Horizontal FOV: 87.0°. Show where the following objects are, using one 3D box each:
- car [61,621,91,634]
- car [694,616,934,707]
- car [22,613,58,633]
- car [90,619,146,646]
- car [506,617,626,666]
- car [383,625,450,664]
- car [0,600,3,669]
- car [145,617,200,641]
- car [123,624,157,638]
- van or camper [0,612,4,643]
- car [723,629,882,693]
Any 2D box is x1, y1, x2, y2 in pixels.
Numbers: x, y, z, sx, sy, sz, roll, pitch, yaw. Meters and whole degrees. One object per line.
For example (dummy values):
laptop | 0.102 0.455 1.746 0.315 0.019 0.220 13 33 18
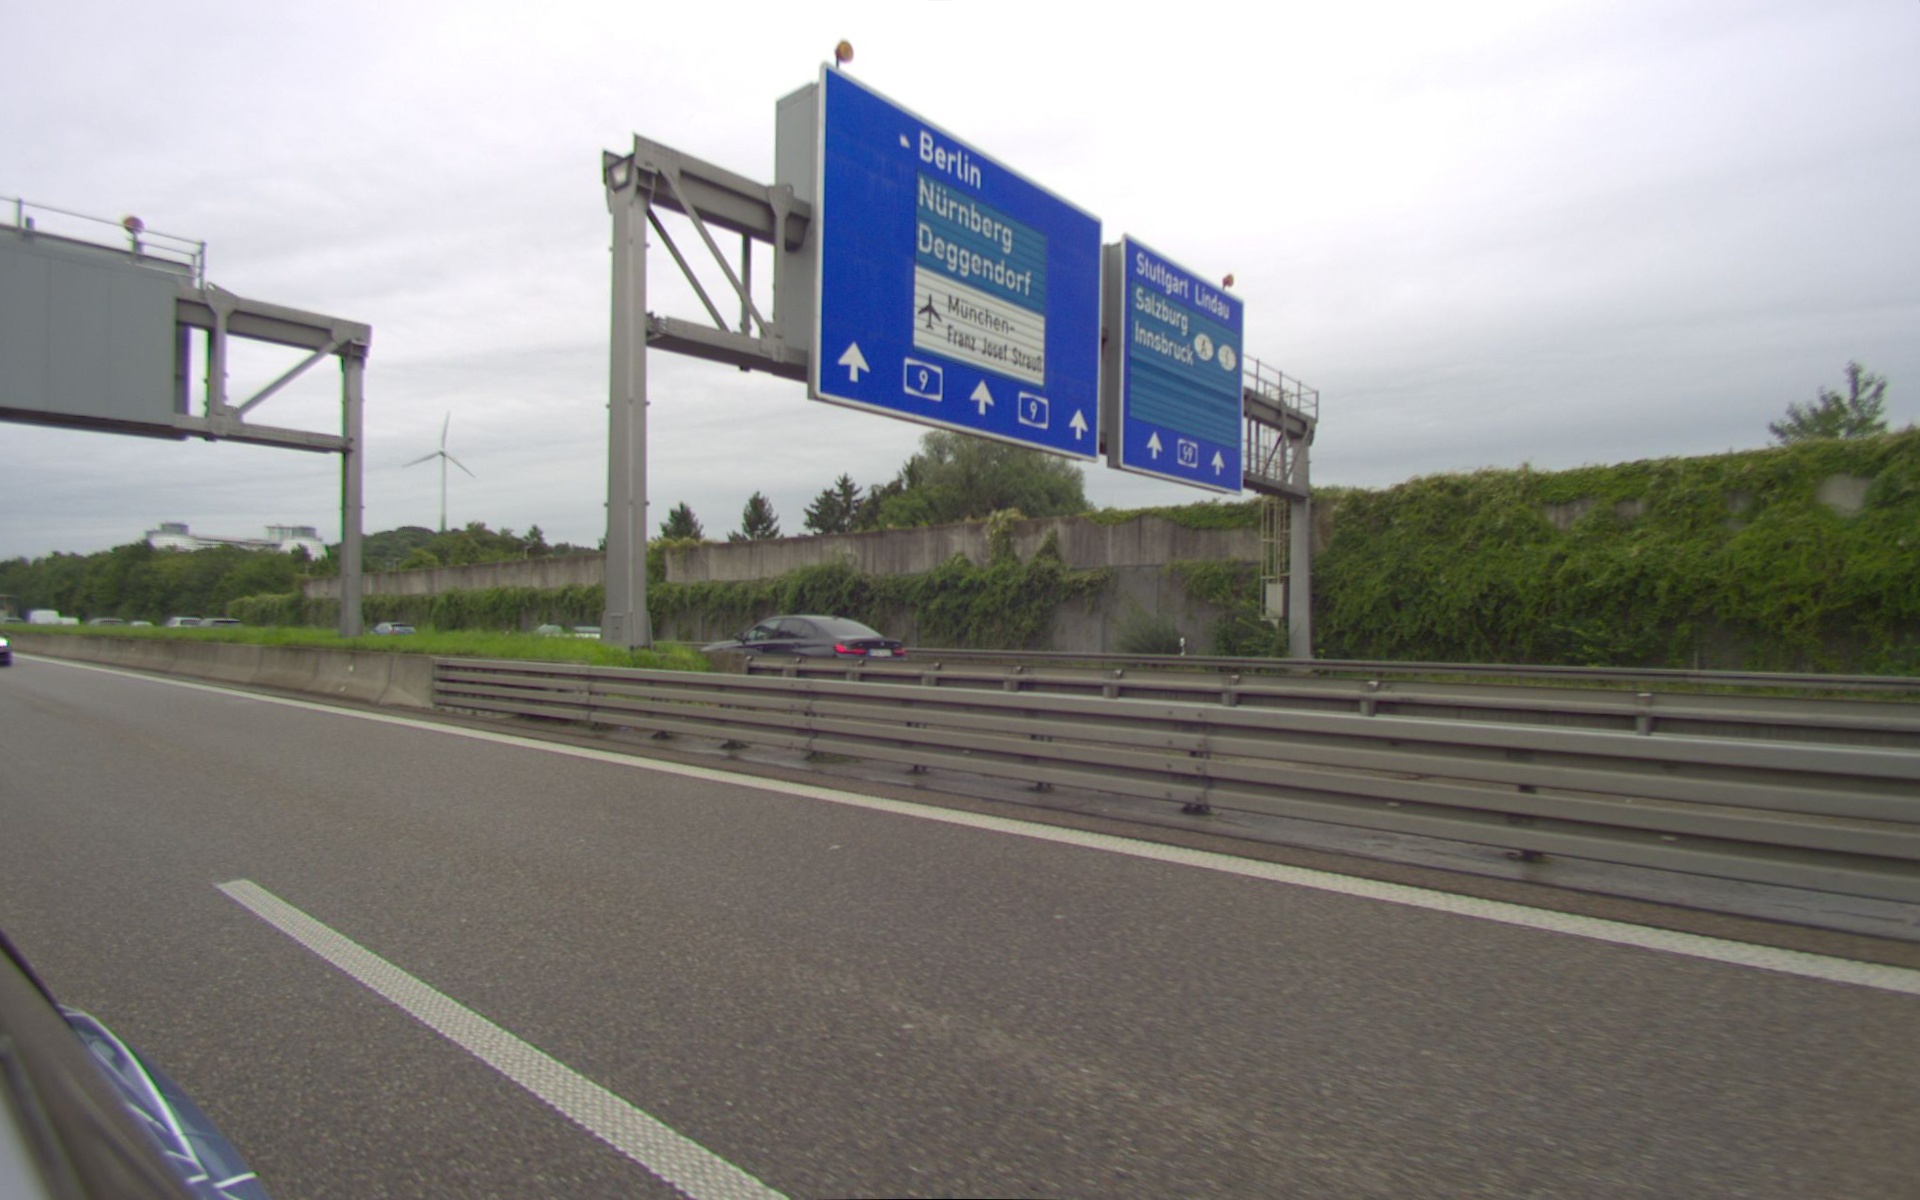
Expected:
car | -98.010 3.035 112.195 4.524 1.354 1.860 -1 -1 41
car | -2.678 0.995 18.013 4.222 1.366 1.973 -1 0 41
car | -96.324 2.371 105.919 6.531 1.926 2.104 -1 0 42
car | -50.919 1.968 61.202 4.222 1.555 1.973 -1 -1 41
car | -12.214 1.237 31.268 4.234 1.376 1.687 -1 0 41
car | -30.845 2.486 57.392 4.222 2.029 1.973 -1 0 41
car | -30.209 1.049 30.429 3.850 2.029 1.703 -1 0 41
car | -50.980 1.878 65.486 4.932 1.465 1.973 -1 -1 41
car | -69.958 2.650 86.301 3.271 1.104 1.589 -1 -1 38
van or camper | -126.713 3.626 131.578 8.398 3.978 2.680 -1 0 41
car | -5.464 1.985 34.539 5.751 1.888 2.186 -1 0 41
